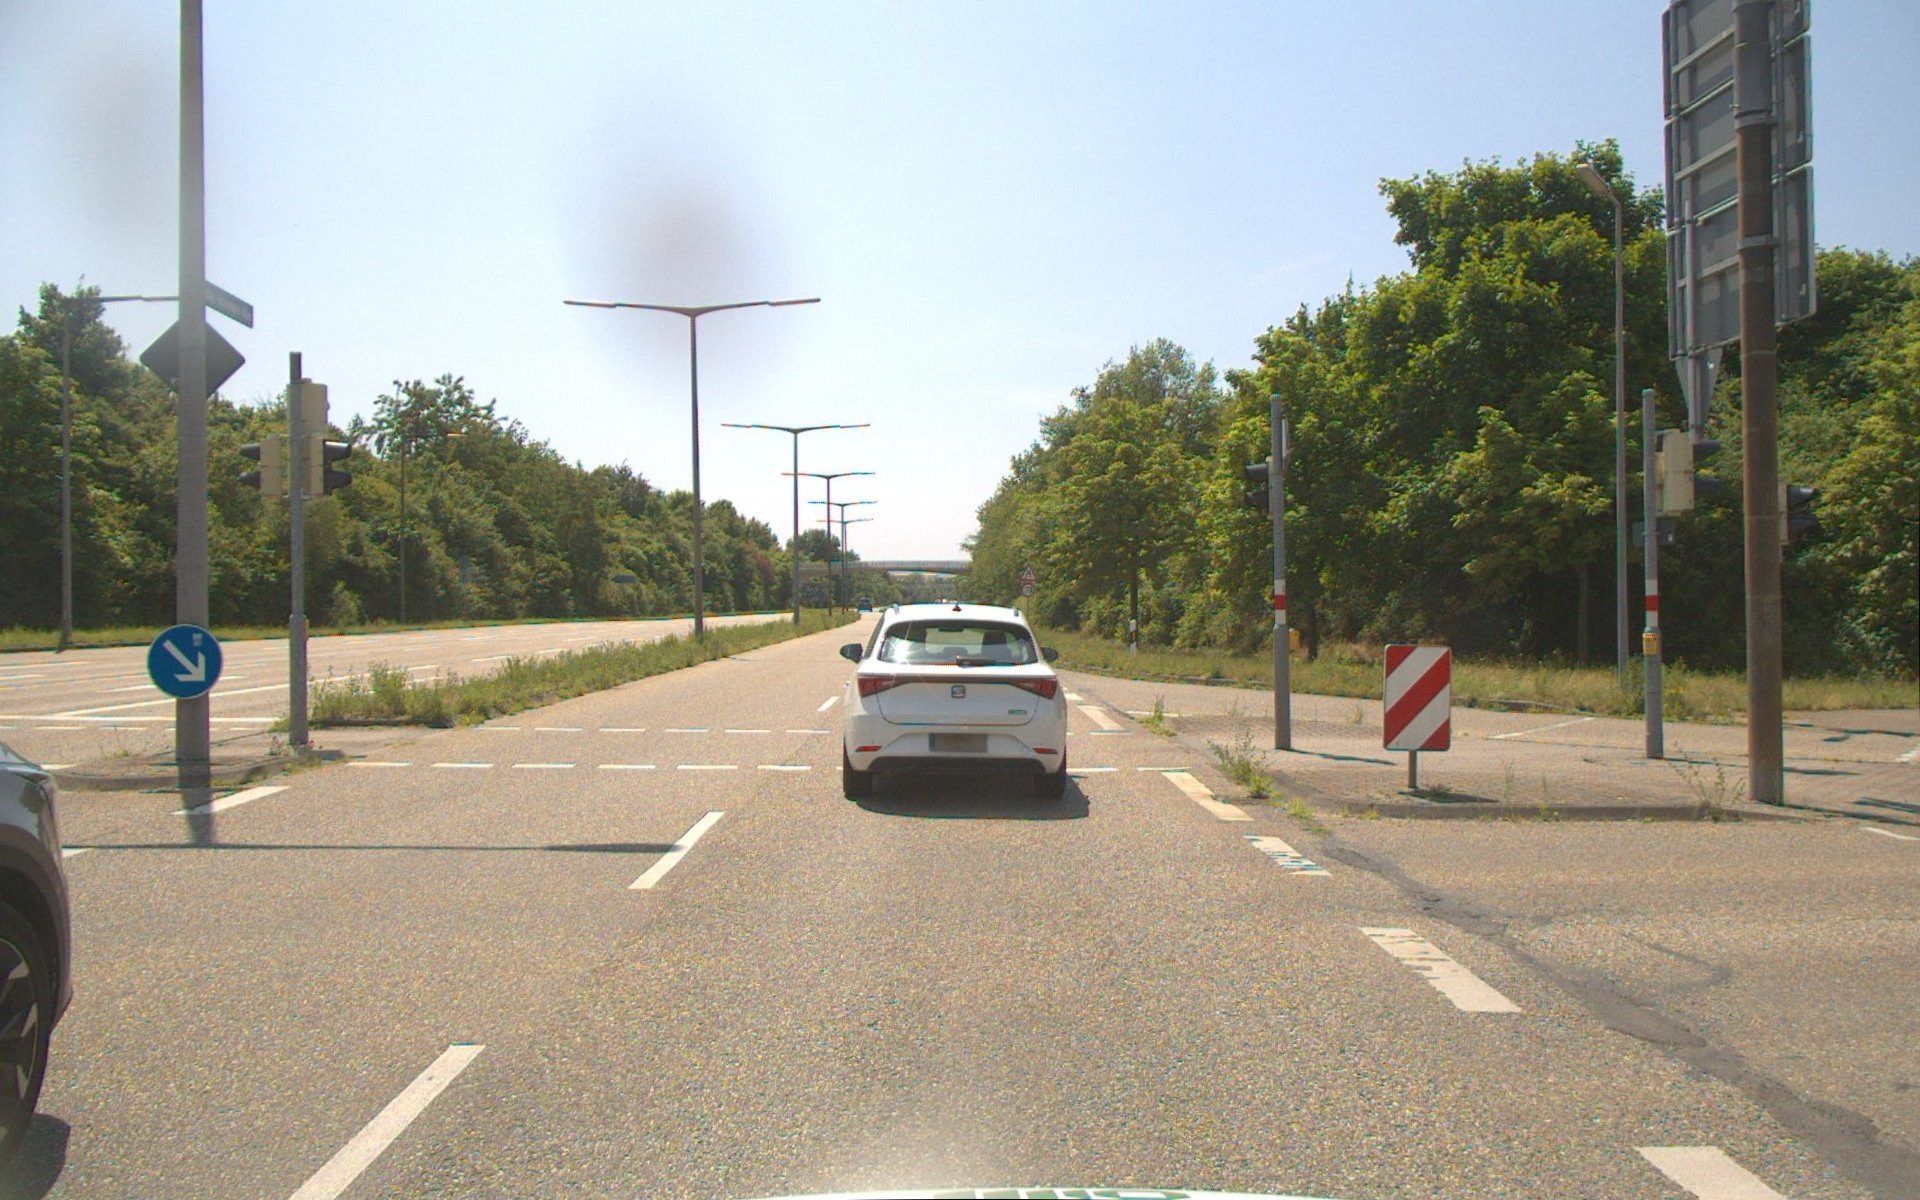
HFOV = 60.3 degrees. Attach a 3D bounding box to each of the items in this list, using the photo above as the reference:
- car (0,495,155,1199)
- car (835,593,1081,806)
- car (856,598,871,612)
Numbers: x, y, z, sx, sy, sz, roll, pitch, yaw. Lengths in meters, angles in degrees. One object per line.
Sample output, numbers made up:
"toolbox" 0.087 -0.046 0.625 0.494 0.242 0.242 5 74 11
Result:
"car" -3.162 0.594 2.366 1.767 1.691 4.643 0 0 0
"car" -0.020 0.720 13.498 1.699 1.453 3.694 1 -1 0
"car" -13.095 0.660 224.868 1.817 1.739 3.999 -1 0 -2
